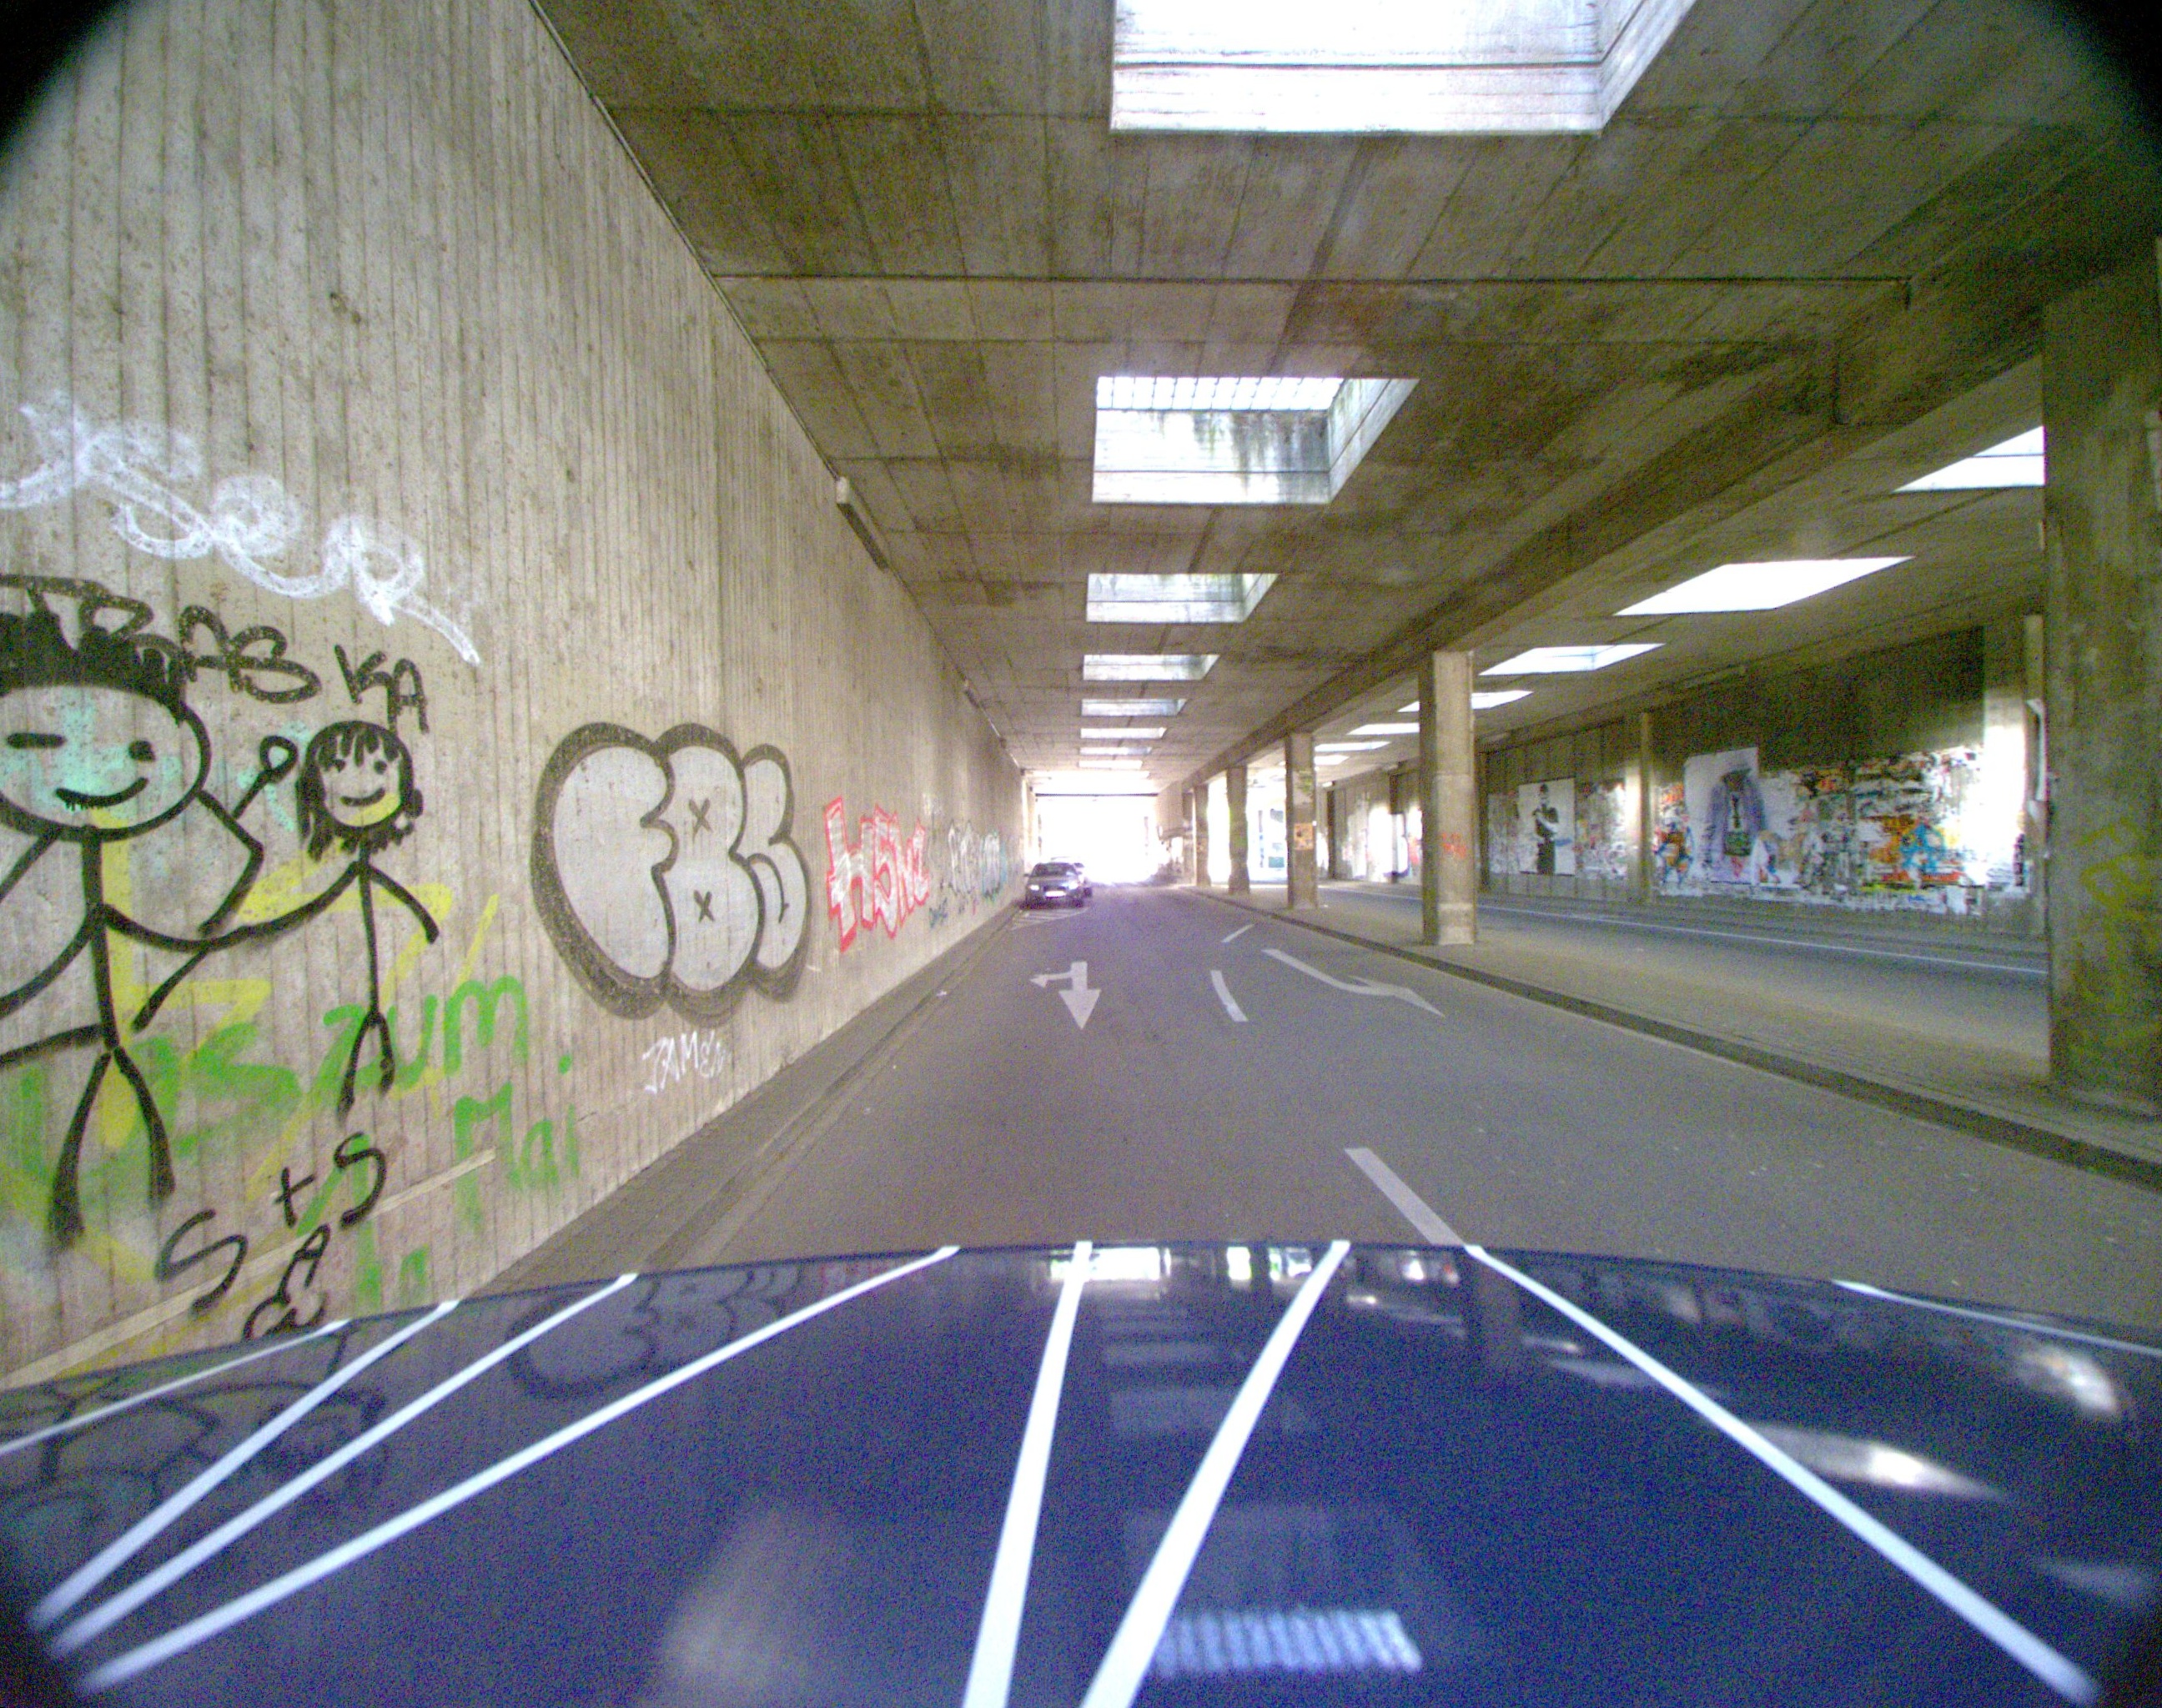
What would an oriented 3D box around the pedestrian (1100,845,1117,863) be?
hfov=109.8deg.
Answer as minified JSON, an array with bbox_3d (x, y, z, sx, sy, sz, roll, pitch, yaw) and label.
[{"bbox_3d":[3.145,-0.037,85.980,1.486,2.002,1.217,-2,1,24],"label":"pedestrian"}]

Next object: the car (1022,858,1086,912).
[{"bbox_3d":[-0.764,0.908,23.992,1.767,1.407,3.999,-2,1,1],"label":"car"}]

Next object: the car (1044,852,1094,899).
[{"bbox_3d":[-0.513,0.783,29.773,1.767,1.634,3.999,-2,1,-2],"label":"car"}]
